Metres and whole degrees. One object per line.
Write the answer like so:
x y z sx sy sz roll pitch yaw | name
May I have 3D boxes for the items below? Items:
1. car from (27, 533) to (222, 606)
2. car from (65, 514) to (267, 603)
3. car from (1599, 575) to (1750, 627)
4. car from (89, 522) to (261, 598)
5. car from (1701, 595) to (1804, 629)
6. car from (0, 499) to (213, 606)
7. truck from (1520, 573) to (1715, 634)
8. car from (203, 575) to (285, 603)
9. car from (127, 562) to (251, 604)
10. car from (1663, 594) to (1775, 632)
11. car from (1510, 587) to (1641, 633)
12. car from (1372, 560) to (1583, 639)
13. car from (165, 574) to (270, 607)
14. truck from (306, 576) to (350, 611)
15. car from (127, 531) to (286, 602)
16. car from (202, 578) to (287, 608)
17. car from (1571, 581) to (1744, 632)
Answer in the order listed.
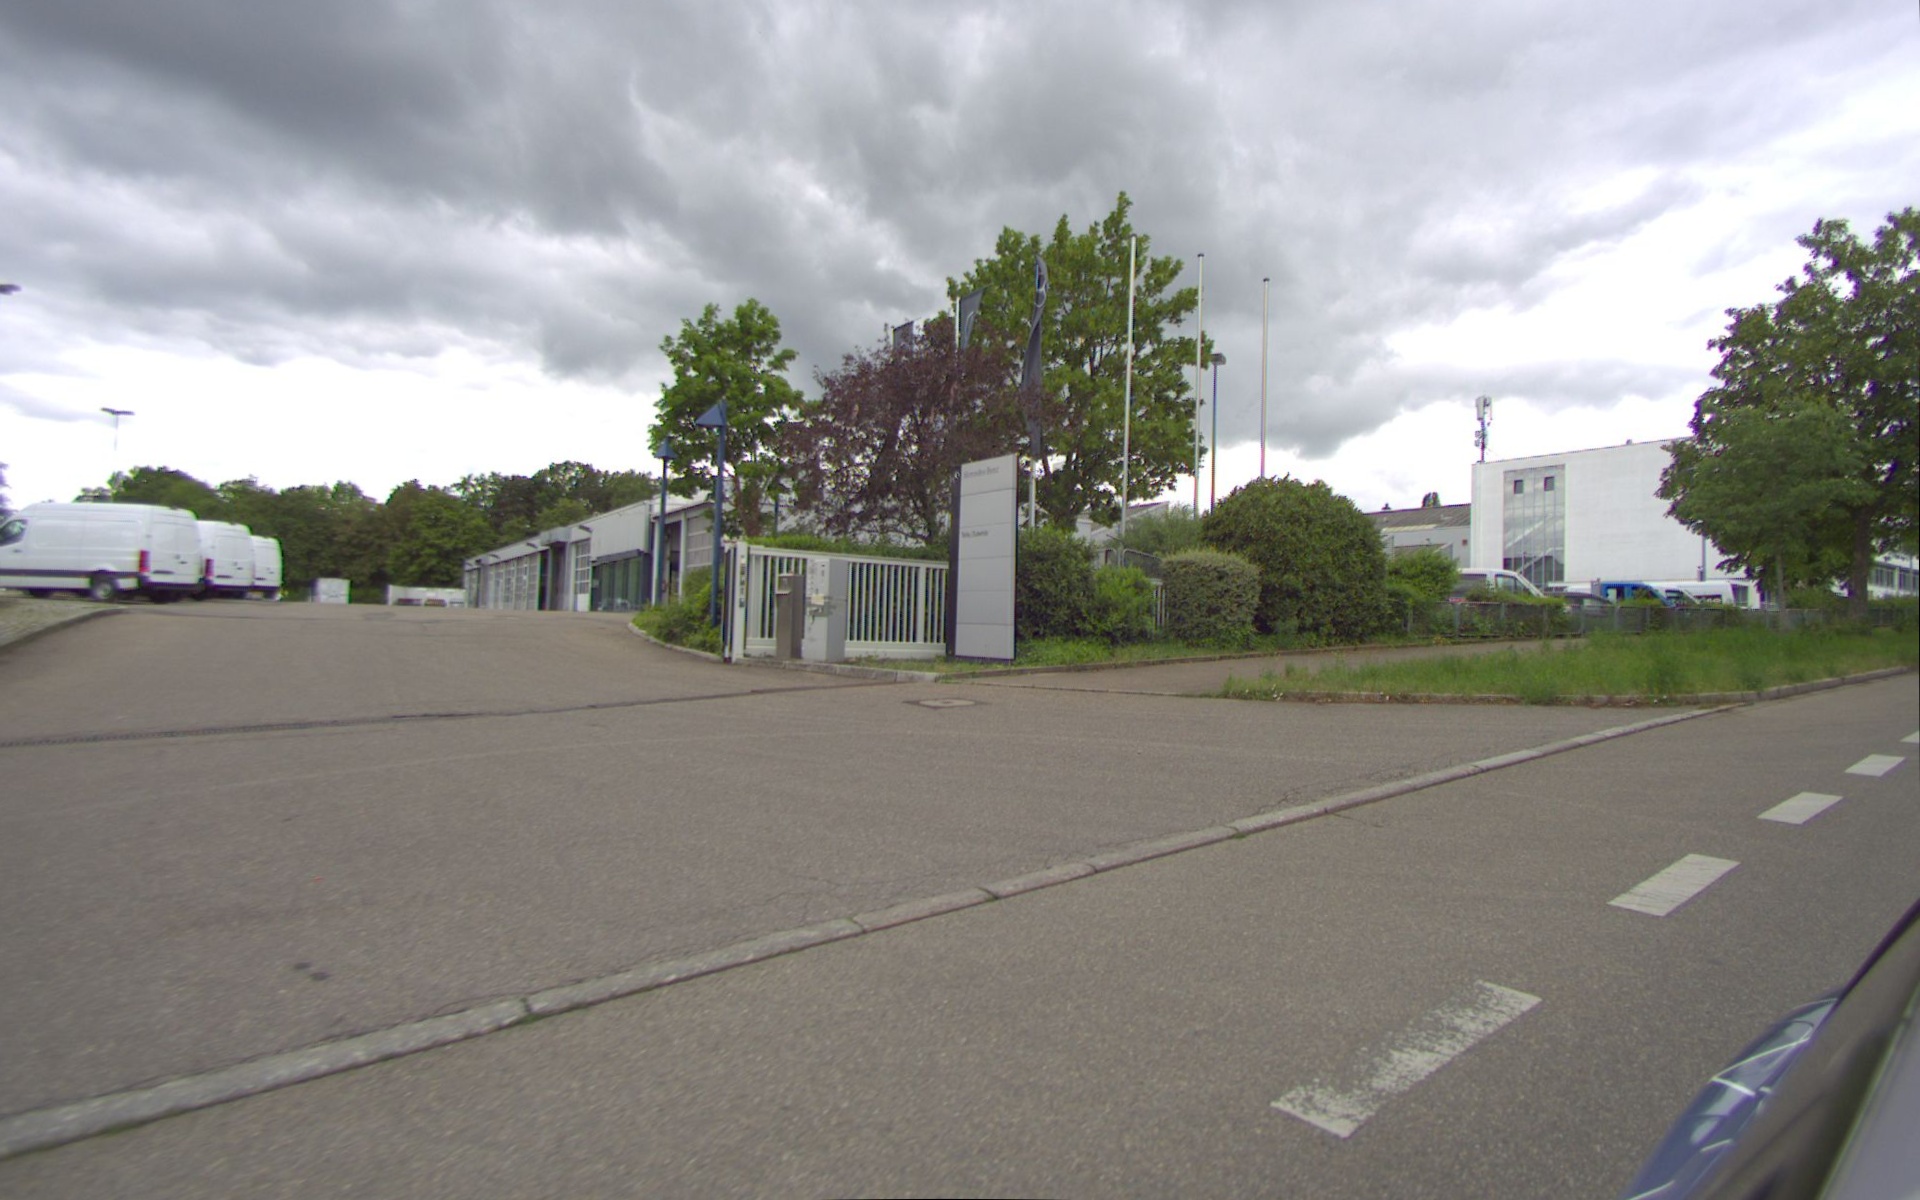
-25.607 -0.913 31.123 4.421 1.981 2.061 2 -1 6 | car
-26.816 -1.366 34.256 5.360 2.711 2.256 2 -1 9 | car
31.477 0.073 44.809 5.215 2.216 2.050 -1 -1 30 | car
-31.145 -1.579 40.209 5.360 2.711 2.256 2 -1 9 | car
48.932 0.736 62.568 4.510 2.060 2.062 -1 -1 15 | car
-24.288 -1.295 28.152 5.351 2.711 2.260 2 -1 3 | car
25.786 0.173 40.065 6.191 2.241 2.226 -1 -1 27 | truck
-58.661 -0.906 82.963 5.360 2.054 2.256 2 -1 9 | car
-42.237 -0.926 55.506 5.360 2.054 2.256 2 -1 9 | car
42.551 0.735 56.850 4.510 2.060 2.062 -1 -1 15 | car
22.817 0.384 37.721 3.960 1.650 1.981 -1 -1 27 | car
16.923 0.014 33.296 5.981 2.397 2.336 -1 -1 31 | car
-47.151 -0.603 64.335 5.360 1.838 2.257 2 2 9 | car
-73.690 -0.658 118.173 3.594 3.835 10.897 0 -1 -28 | truck
-32.001 -1.394 43.058 5.360 2.711 2.256 2 -1 9 | car
-56.145 -0.558 79.488 5.360 2.054 2.256 2 -1 9 | car
28.774 0.282 42.032 5.783 1.982 2.047 -1 -1 33 | car
